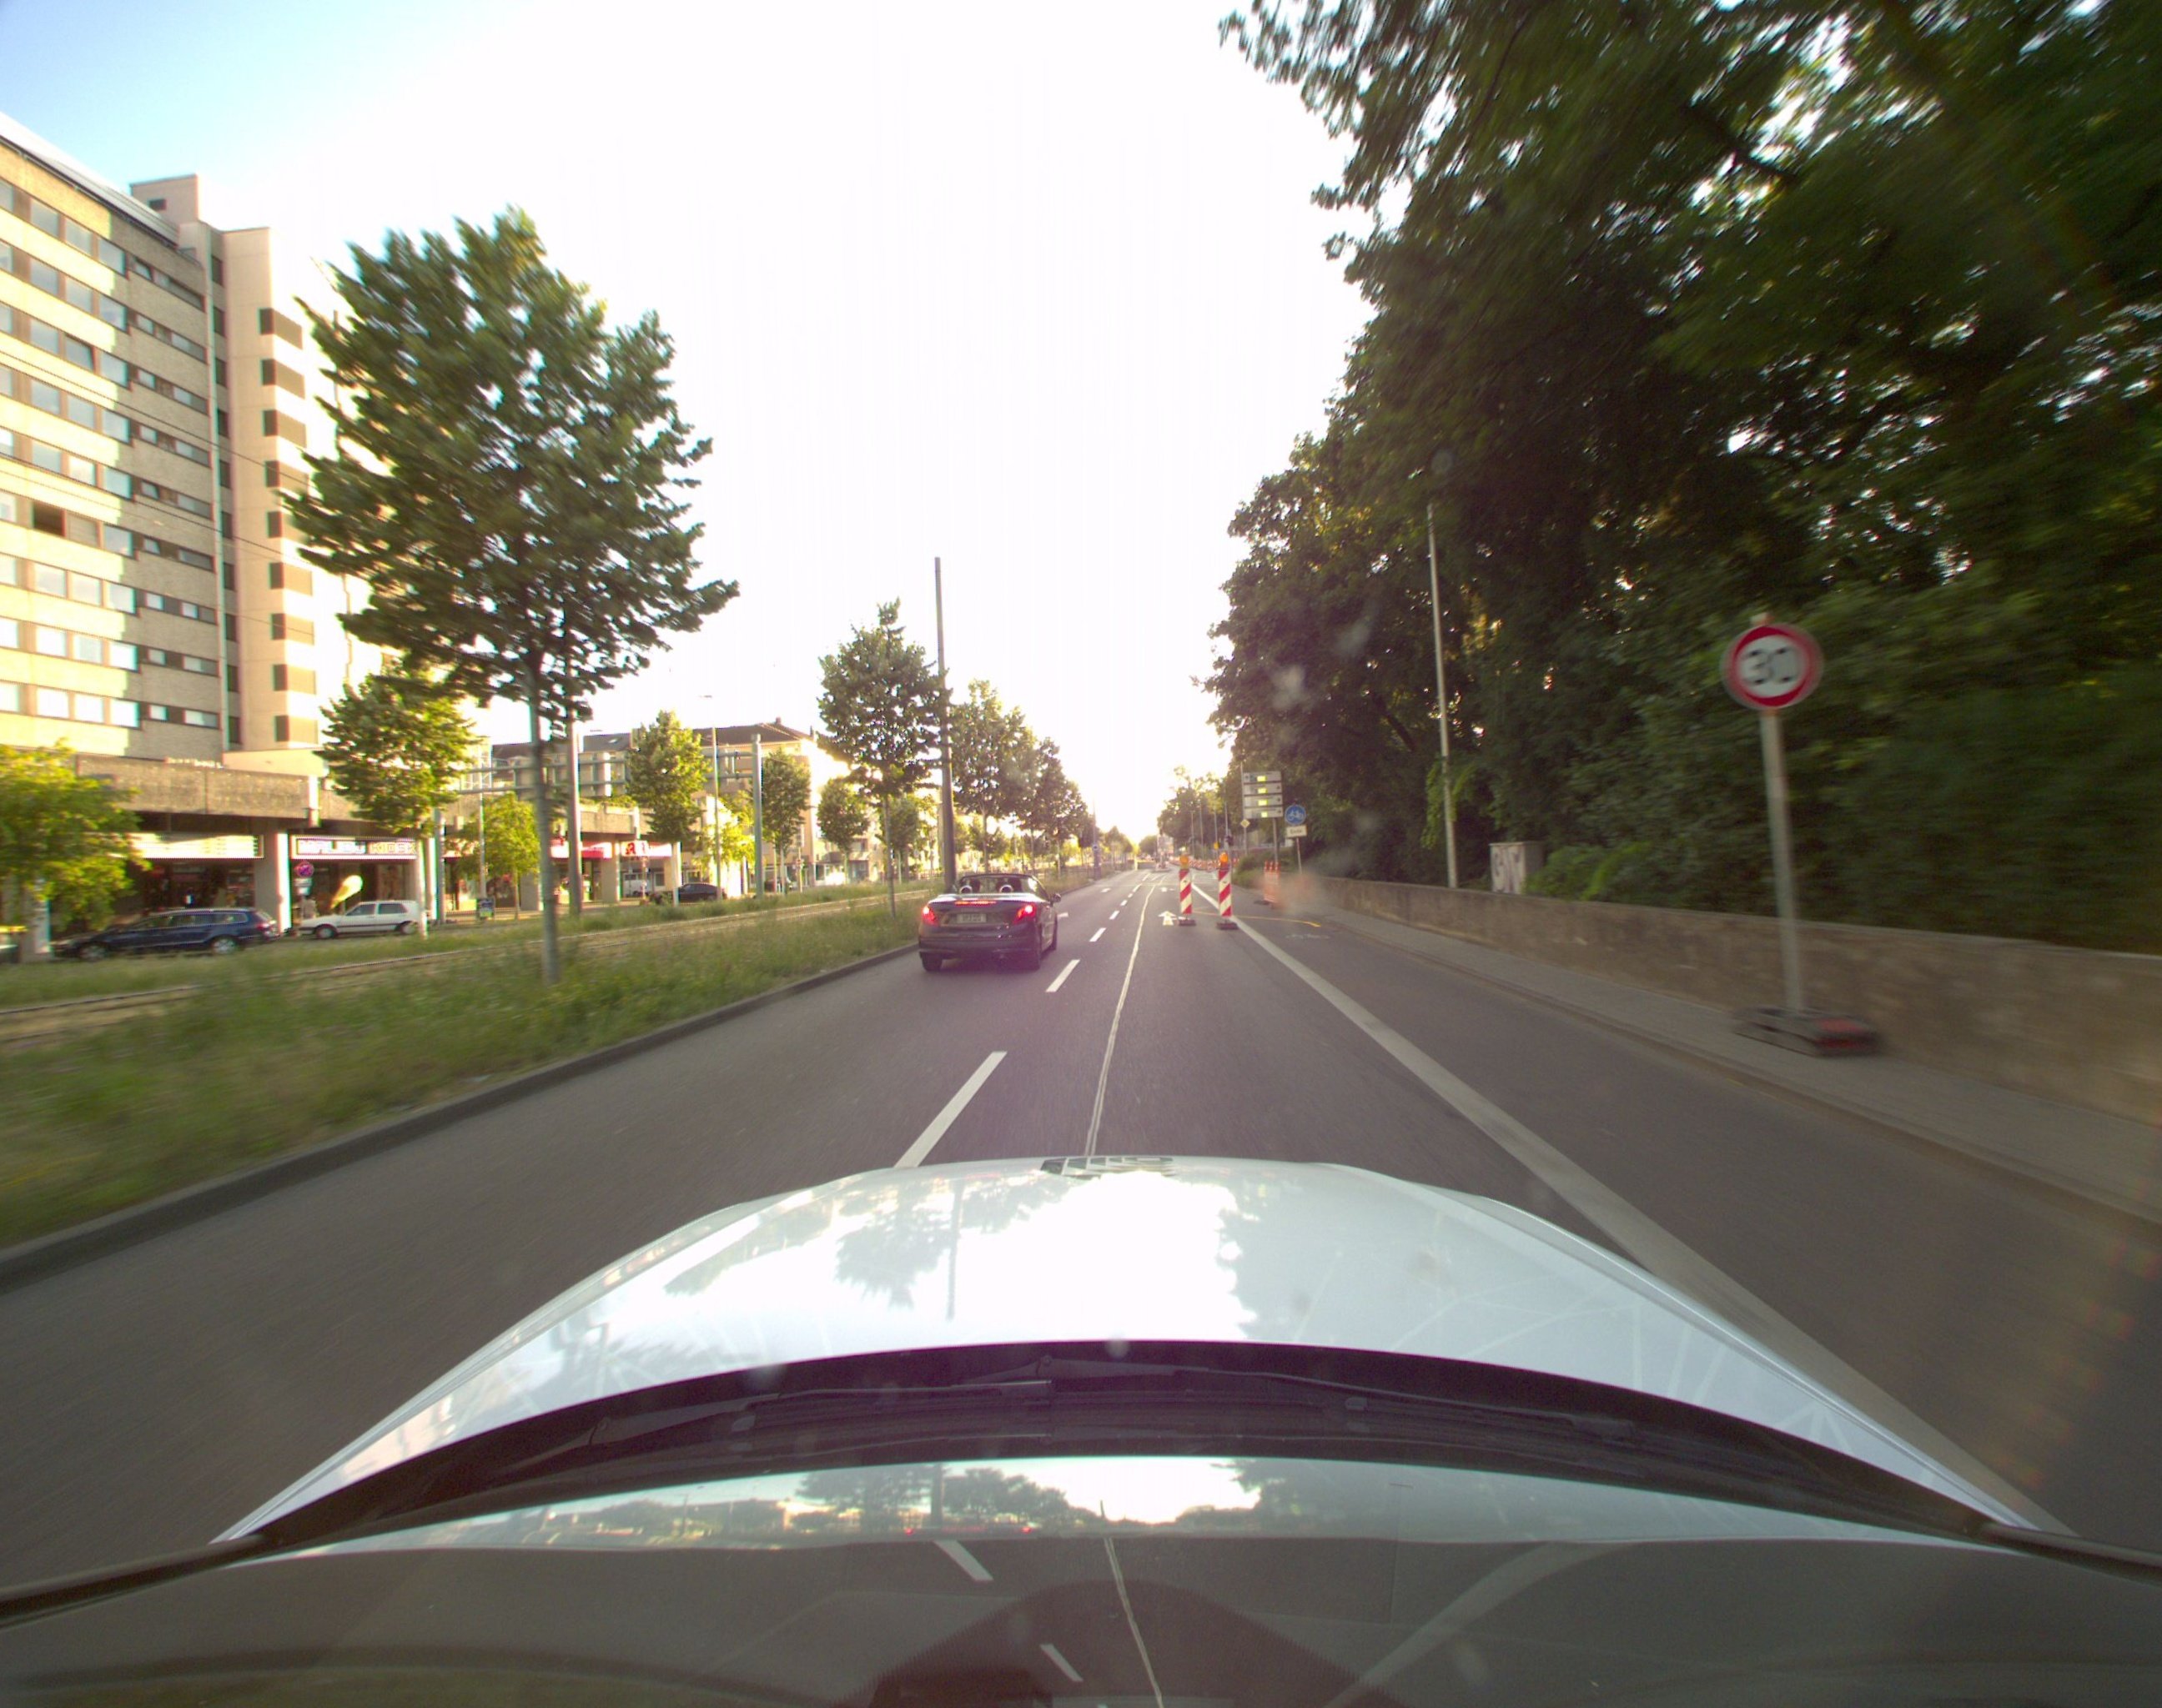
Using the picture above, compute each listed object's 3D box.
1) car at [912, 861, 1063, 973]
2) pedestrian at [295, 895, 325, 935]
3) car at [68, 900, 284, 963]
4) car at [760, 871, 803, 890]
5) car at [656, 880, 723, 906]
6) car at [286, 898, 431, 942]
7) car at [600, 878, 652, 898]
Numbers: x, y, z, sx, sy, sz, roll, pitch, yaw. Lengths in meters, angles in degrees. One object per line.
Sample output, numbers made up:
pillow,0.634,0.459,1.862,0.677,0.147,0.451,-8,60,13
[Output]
car,-1.312,0.867,12.924,1.711,1.449,3.904,-1,0,3
pedestrian,-32.589,2.571,34.434,0.660,1.661,0.662,-1,-1,6
car,-29.113,2.449,26.445,4.303,1.590,1.987,-2,-1,-35
car,-33.653,2.975,91.630,3.916,1.845,2.194,-3,-1,4
car,-26.098,2.591,54.307,3.748,1.450,1.724,-2,-1,-37
car,-28.842,2.583,32.705,4.147,1.436,1.806,-1,0,-34
car,-50.895,3.745,91.139,4.467,1.990,2.169,-2,-1,4
